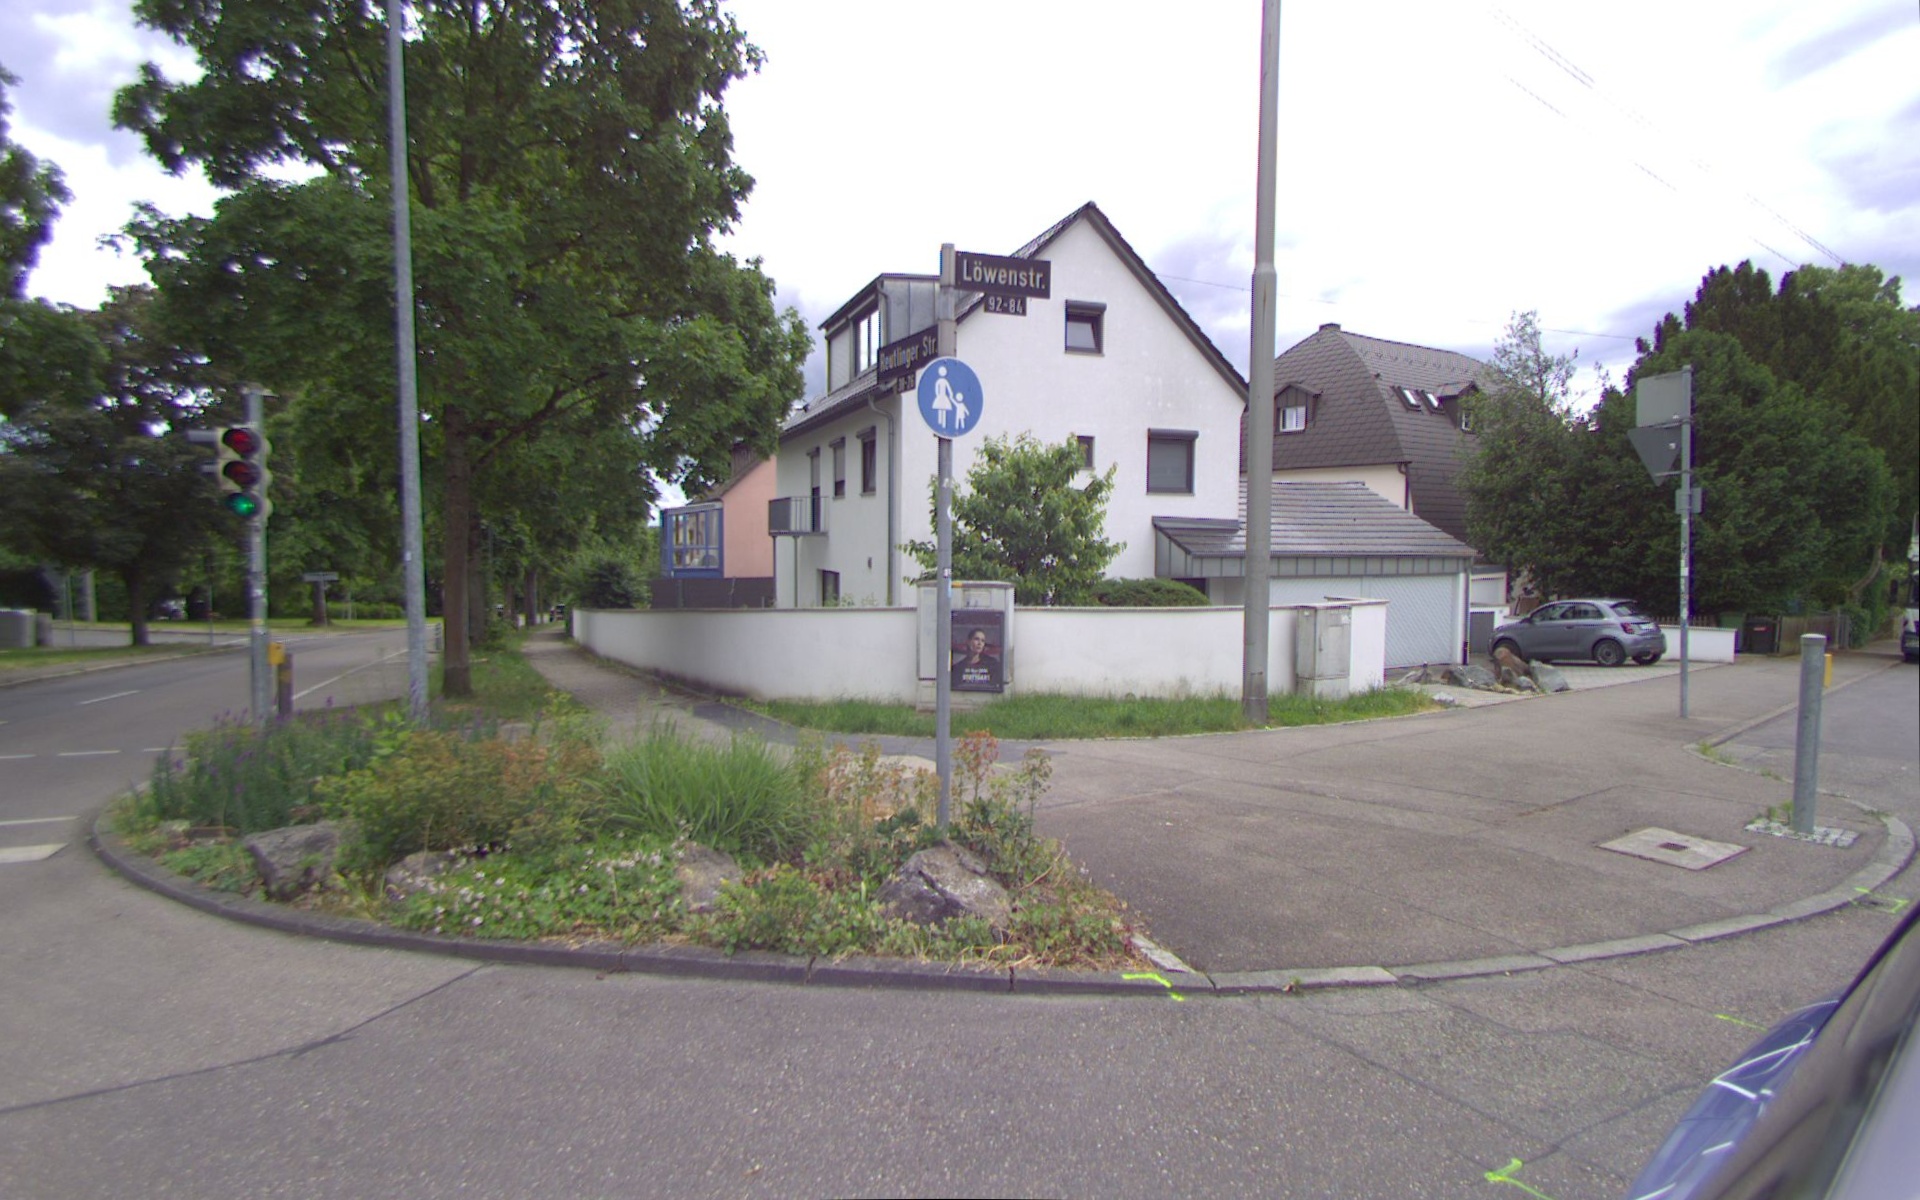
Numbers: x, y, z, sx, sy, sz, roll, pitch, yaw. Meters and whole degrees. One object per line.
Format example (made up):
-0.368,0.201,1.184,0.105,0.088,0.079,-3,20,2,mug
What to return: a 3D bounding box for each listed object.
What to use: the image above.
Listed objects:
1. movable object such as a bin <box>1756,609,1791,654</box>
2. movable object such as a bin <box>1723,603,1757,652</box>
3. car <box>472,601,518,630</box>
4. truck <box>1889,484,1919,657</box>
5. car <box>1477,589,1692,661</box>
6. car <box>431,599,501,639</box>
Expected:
20.682,0.812,25.731,0.598,1.119,0.936,-1,-3,45,movable object such as a bin
20.340,0.721,26.377,0.598,1.223,0.936,-1,-3,45,movable object such as a bin
-26.260,0.831,57.224,1.724,1.579,3.853,0,0,-15,car
29.123,-0.739,29.040,3.147,4.607,7.824,4,3,45,truck
14.199,0.588,23.243,1.658,1.516,3.862,0,-2,-29,car
-22.087,0.805,45.383,1.958,1.571,4.009,1,2,-13,car
